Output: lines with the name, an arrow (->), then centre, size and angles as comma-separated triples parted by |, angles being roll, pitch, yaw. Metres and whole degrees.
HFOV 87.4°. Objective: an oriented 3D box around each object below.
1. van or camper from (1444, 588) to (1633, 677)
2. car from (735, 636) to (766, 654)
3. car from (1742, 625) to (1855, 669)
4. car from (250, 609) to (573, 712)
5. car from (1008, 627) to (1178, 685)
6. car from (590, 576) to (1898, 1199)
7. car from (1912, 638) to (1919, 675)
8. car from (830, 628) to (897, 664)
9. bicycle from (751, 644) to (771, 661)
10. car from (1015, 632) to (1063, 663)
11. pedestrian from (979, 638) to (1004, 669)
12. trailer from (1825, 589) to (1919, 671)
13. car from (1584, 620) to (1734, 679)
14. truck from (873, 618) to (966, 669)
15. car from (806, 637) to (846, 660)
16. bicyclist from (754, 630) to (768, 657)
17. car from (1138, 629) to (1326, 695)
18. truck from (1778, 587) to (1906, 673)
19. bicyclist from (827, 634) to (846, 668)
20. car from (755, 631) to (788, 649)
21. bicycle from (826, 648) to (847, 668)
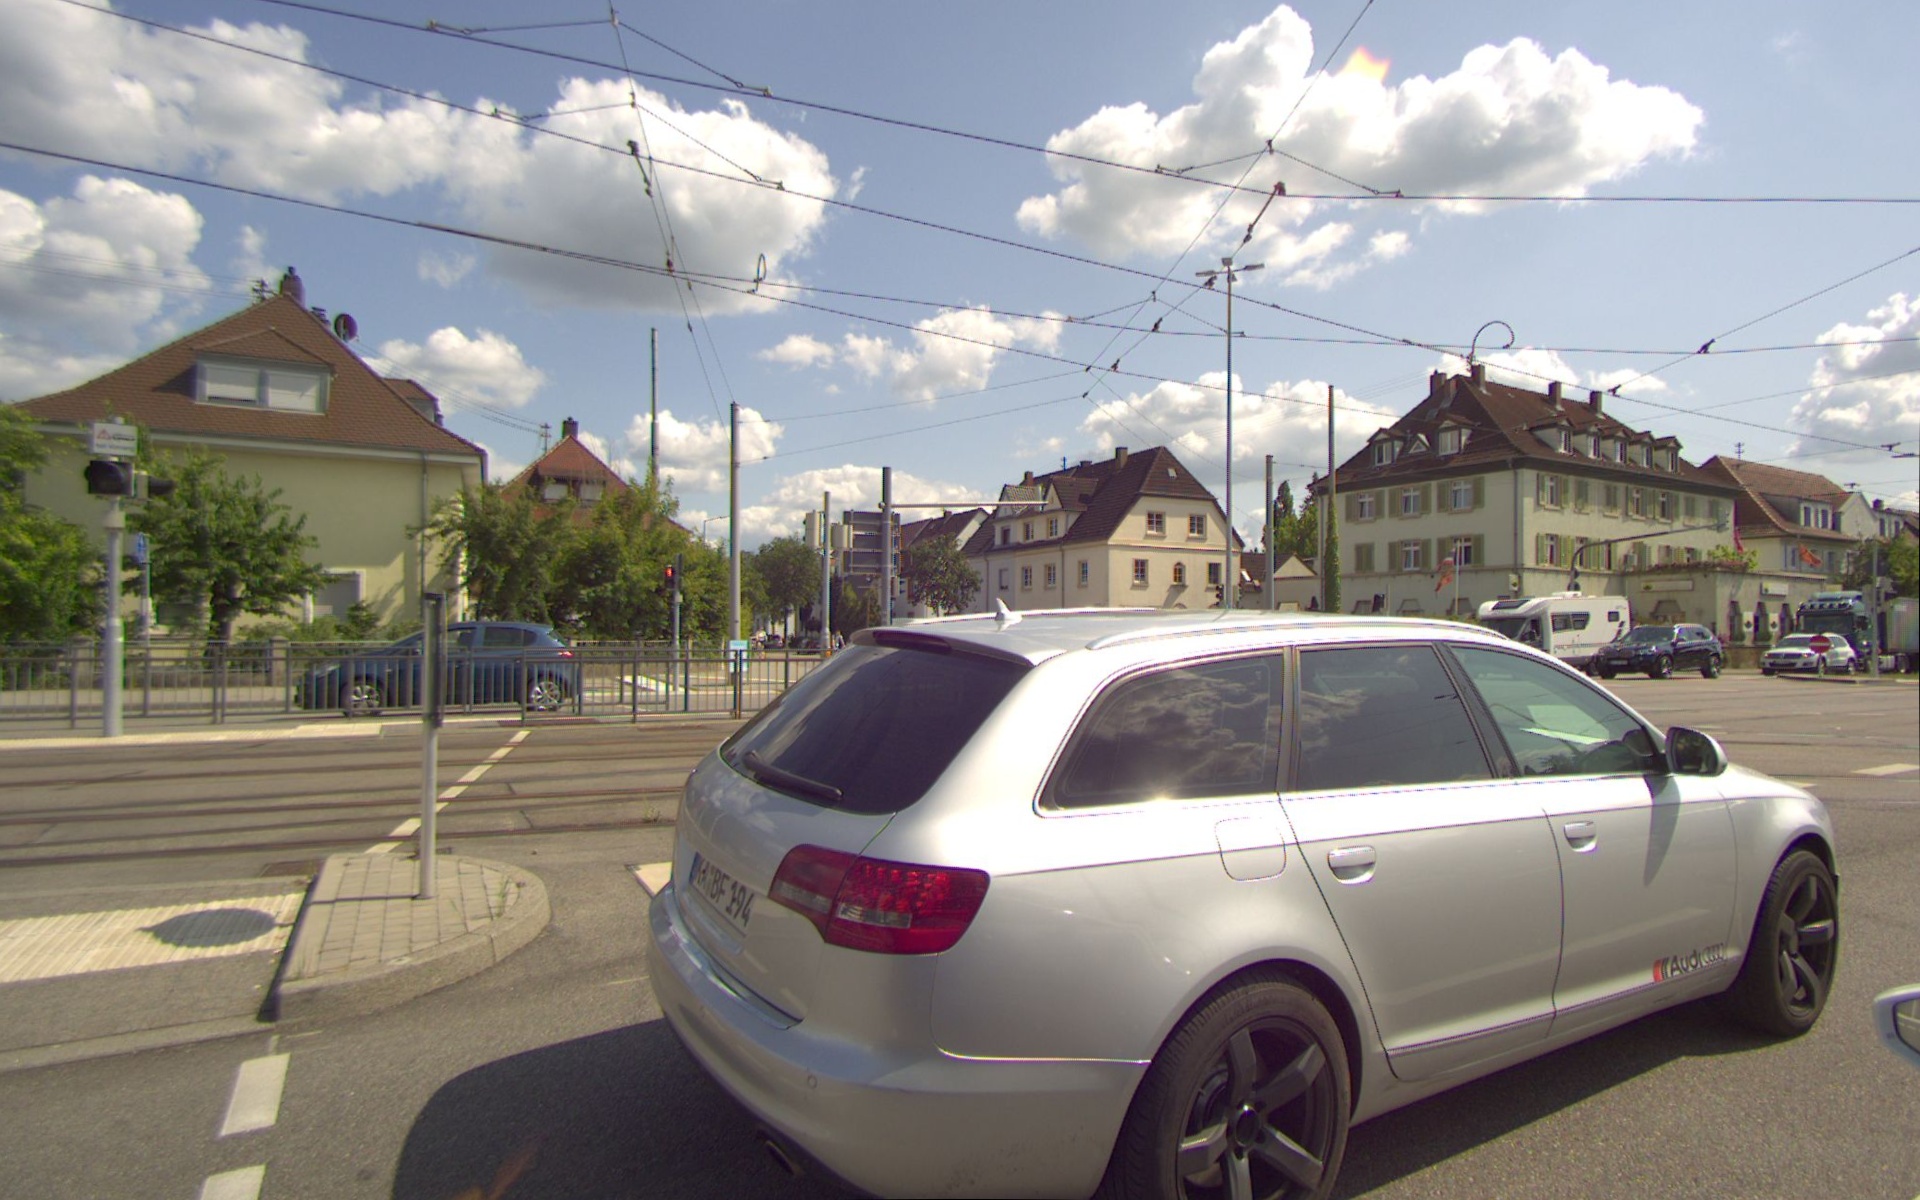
van or camper -> 20.925, 1.182, 36.188 | 7.659, 2.968, 2.314 | 2, -2, -29
car -> -21.637, 4.604, 103.732 | 1.976, 1.617, 3.970 | 2, -1, -29
car -> 32.291, 1.859, 38.687 | 4.128, 1.572, 1.985 | 2, -5, -30
car -> -8.292, 0.912, 15.481 | 4.128, 1.369, 1.676 | 2, -1, -30
car -> 3.539, 1.481, 26.439 | 4.293, 1.369, 1.676 | 2, -1, -30
car -> 1.300, 0.762, 3.571 | 4.668, 1.491, 1.785 | 1, -1, -31
car -> 46.013, 2.642, 46.291 | 4.416, 1.658, 1.788 | 2, -3, -28
car -> -4.894, 2.284, 50.566 | 1.975, 1.573, 4.149 | 3, -1, -27
bicycle -> -11.148, 2.950, 56.140 | 0.595, 0.846, 1.797 | 2, -1, -27
car -> 4.914, 2.950, 62.768 | 1.900, 1.690, 4.279 | 2, -1, -11
pedestrian -> 1.780, 3.028, 56.863 | 0.909, 1.670, 1.033 | 2, 0, 38
trailer -> 49.017, 1.574, 51.466 | 12.675, 3.871, 2.590 | 1, -4, -28
car -> 22.761, 1.603, 32.676 | 4.816, 1.799, 1.986 | 1, -3, -28
truck -> -1.876, 1.864, 44.177 | 1.668, 1.947, 6.163 | 2, -1, -26
car -> -11.042, 3.985, 82.721 | 1.976, 1.617, 3.970 | 2, -1, -29
bicyclist -> -11.141, 2.431, 56.167 | 0.595, 1.517, 0.498 | 2, 0, -28
car -> 6.495, 1.463, 23.969 | 4.128, 1.369, 1.984 | 2, -1, -30
truck -> 41.777, 1.450, 47.586 | 5.595, 3.871, 2.590 | 1, -3, -28
bicyclist -> -5.601, 2.315, 45.572 | 0.595, 1.528, 0.641 | 2, 0, -28
car -> -18.454, 3.882, 98.085 | 1.976, 1.617, 3.970 | 2, -1, -29
bicycle -> -5.599, 2.641, 45.537 | 0.595, 0.846, 1.075 | 2, -1, -27
